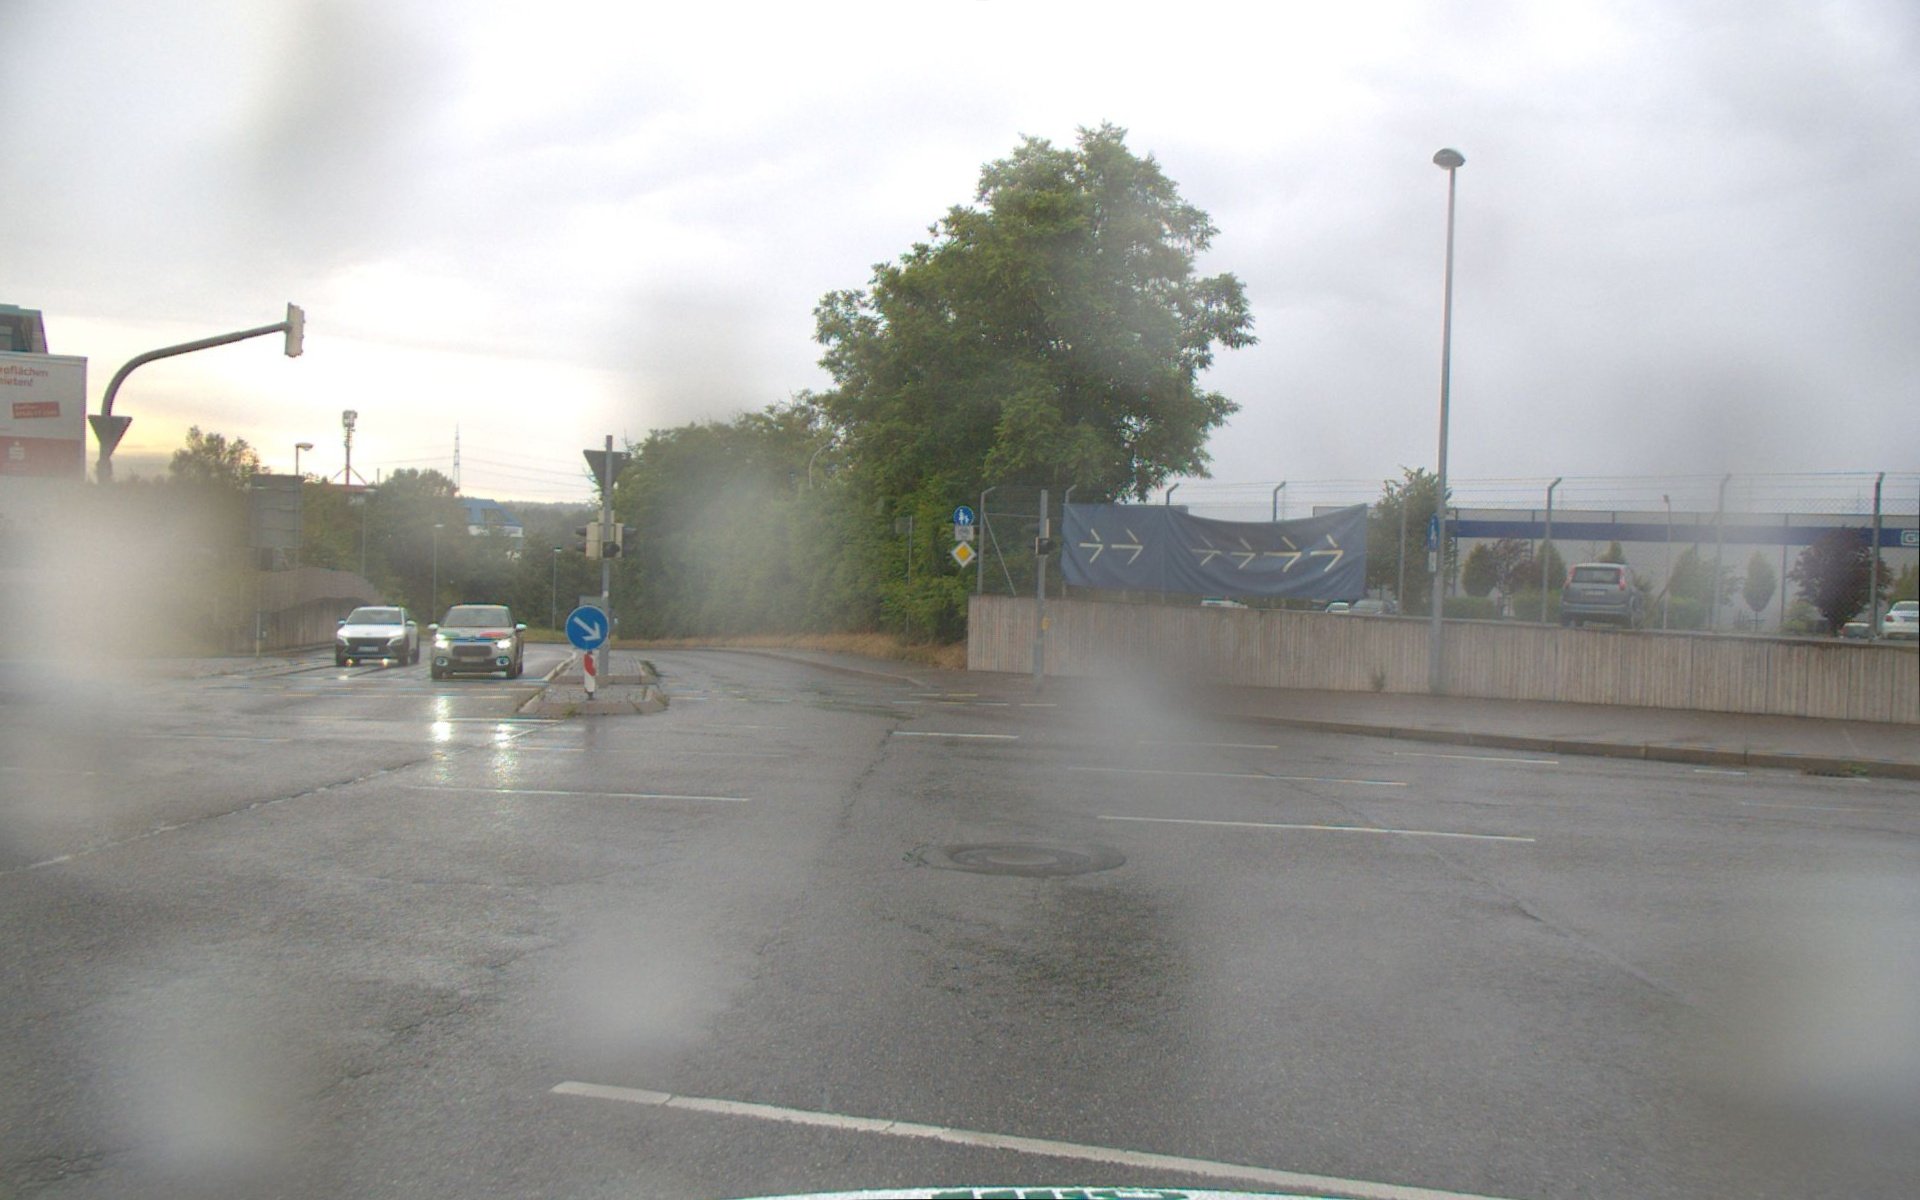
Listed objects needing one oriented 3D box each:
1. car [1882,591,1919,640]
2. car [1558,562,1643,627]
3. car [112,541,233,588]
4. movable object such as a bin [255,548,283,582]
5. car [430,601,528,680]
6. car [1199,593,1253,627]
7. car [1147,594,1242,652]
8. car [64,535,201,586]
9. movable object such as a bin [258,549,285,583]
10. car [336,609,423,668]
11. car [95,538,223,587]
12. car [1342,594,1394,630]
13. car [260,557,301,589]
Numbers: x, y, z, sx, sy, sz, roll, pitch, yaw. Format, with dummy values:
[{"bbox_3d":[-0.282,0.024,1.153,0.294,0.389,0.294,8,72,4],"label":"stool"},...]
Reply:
[{"bbox_3d":[29.920,0.500,51.688,1.784,1.459,4.094,1,0,31],"label":"car"},{"bbox_3d":[16.333,-0.120,42.100,1.709,1.580,3.527,1,0,26],"label":"car"},{"bbox_3d":[-30.069,-1.362,63.169,3.903,1.614,1.903,1,-2,18],"label":"car"},{"bbox_3d":[-31.863,-1.594,76.319,1.068,1.462,1.437,2,-2,-21],"label":"movable object such as a bin"},{"bbox_3d":[-9.966,0.821,34.494,1.632,1.521,3.988,1,-1,-12],"label":"car"},{"bbox_3d":[13.069,0.500,81.136,1.634,1.634,3.527,1,0,26],"label":"car"},{"bbox_3d":[6.805,0.663,47.751,1.709,1.597,3.527,1,0,26],"label":"car"},{"bbox_3d":[-28.747,-1.362,57.497,3.902,1.614,1.903,1,-2,14],"label":"car"},{"bbox_3d":[-32.360,-1.595,77.710,1.068,1.462,1.437,2,-2,-21],"label":"movable object such as a bin"},{"bbox_3d":[-15.649,1.016,44.761,1.690,1.521,3.988,1,-1,-12],"label":"car"},{"bbox_3d":[-29.191,-1.362,60.298,3.903,1.614,1.903,1,-2,18],"label":"car"},{"bbox_3d":[19.060,0.569,77.171,1.634,1.634,3.527,1,0,26],"label":"car"},{"bbox_3d":[-35.550,-1.383,86.616,1.801,1.467,3.975,2,-2,-21],"label":"car"}]
